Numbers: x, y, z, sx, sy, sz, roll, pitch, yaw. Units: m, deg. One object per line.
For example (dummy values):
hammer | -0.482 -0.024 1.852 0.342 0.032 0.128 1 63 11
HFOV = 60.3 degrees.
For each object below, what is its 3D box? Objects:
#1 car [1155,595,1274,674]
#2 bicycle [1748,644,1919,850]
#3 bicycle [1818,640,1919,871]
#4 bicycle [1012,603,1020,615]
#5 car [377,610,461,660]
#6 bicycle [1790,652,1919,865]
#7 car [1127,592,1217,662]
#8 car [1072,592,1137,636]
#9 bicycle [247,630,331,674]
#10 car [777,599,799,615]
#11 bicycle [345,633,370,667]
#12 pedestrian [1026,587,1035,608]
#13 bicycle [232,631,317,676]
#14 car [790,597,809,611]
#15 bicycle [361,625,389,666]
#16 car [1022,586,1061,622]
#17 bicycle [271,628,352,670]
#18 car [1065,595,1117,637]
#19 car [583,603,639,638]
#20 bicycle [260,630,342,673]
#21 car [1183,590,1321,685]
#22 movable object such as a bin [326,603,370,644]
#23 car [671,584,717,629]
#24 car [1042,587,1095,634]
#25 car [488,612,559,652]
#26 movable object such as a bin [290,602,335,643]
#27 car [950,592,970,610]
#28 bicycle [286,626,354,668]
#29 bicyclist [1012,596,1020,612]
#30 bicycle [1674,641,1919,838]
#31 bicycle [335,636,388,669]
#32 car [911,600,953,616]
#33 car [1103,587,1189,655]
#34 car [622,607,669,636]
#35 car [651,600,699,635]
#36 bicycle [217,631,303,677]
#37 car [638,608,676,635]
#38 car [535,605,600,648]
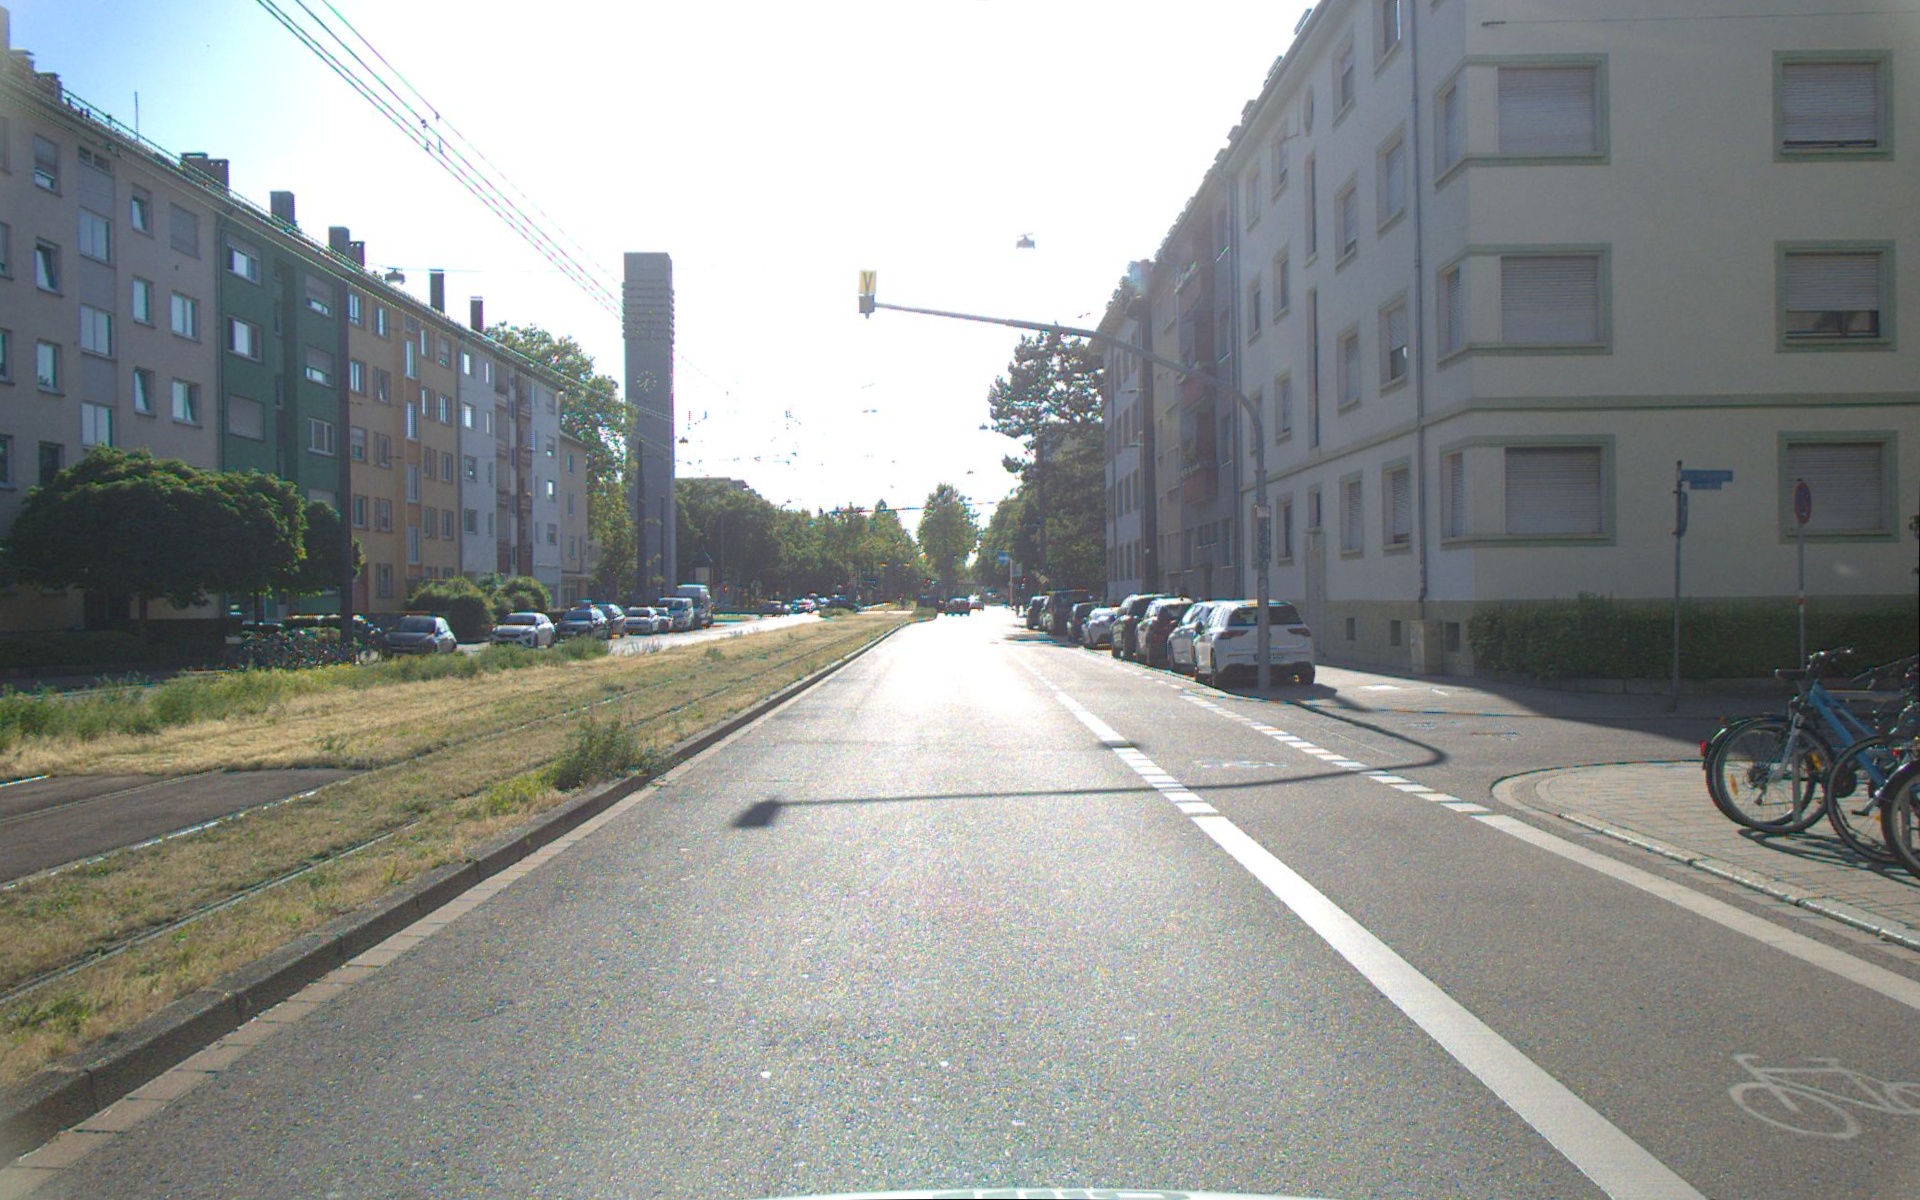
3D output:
car | 5.345 0.686 35.164 1.603 1.484 4.078 -2 1 -4
bicycle | 5.477 0.811 9.209 1.884 1.106 0.471 -2 0 43
bicycle | 5.262 0.788 7.910 1.993 1.106 0.483 2 0 43
bicycle | 4.834 0.753 142.971 0.634 0.989 1.804 1 0 3
car | -17.535 1.112 53.739 1.603 1.467 3.732 1 0 -3
bicycle | 5.386 0.818 8.547 1.884 1.106 0.471 -3 -4 43
car | 5.108 0.611 40.298 1.602 1.544 4.188 -2 1 0
car | 4.887 0.456 56.289 1.668 1.297 4.302 -5 0 -1
bicycle | -18.064 1.399 44.528 2.004 1.111 0.616 1 0 5
car | -16.873 0.686 162.208 1.659 1.473 4.217 -2 0 0
bicycle | -17.515 1.442 48.113 0.369 0.881 2.049 1 0 -12
pedestrian | 6.410 -0.257 149.643 0.688 1.820 0.694 -3 1 5
bicycle | -18.143 1.403 43.811 2.004 1.111 0.616 1 0 5
car | -18.861 0.461 194.601 1.770 1.560 4.361 -1 0 0
bicycle | -17.066 1.304 48.278 0.500 1.111 1.930 1 0 -12
car | 4.442 0.194 90.604 1.840 1.746 4.934 -4 0 1
bicycle | -18.012 1.357 45.967 2.004 1.111 0.616 1 0 5
car | 5.050 0.608 64.229 1.602 1.479 3.789 -4 0 0
car | -17.714 1.002 84.027 1.953 1.636 4.151 1 0 0
bicycle | -18.020 1.403 45.262 2.004 1.111 0.616 1 0 5
car | 5.124 0.604 29.526 1.659 1.484 4.379 -2 1 0
movable object such as a bin | -21.713 0.823 58.685 1.123 1.392 1.039 1 0 2
car | -17.794 0.415 110.838 1.990 2.919 6.228 0 0 1
car | 4.930 0.455 75.508 1.874 1.932 5.134 -4 0 -1
car | -17.596 1.280 66.857 1.693 1.480 4.376 0 0 0
movable object such as a bin | -22.982 0.792 58.715 1.123 1.392 1.039 1 0 2
car | -0.008 0.061 146.650 1.660 1.534 3.697 1 0 -2
bicycle | -18.318 1.339 47.333 2.008 1.111 0.615 2 0 27
bicyclist | 4.846 0.332 143.033 0.624 1.346 0.803 1 0 2
bicycle | 5.399 0.828 10.014 1.884 1.105 0.471 -3 2 43
bicycle | -17.313 1.506 47.850 1.549 0.885 0.417 2 0 22
car | -3.005 0.831 177.686 4.465 1.639 1.870 1 0 -44
car | 5.071 0.525 45.548 1.603 1.676 4.372 -4 1 -3
car | -17.479 1.178 92.068 1.854 1.517 4.701 1 0 -2
car | -17.773 1.076 103.497 1.990 2.056 5.371 1 0 1
bicycle | -18.217 1.407 43.060 2.004 1.111 0.616 1 0 5
car | -17.850 1.250 97.640 1.660 1.541 4.324 0 0 -3
car | -18.289 1.194 77.302 1.953 1.870 4.609 1 0 0
